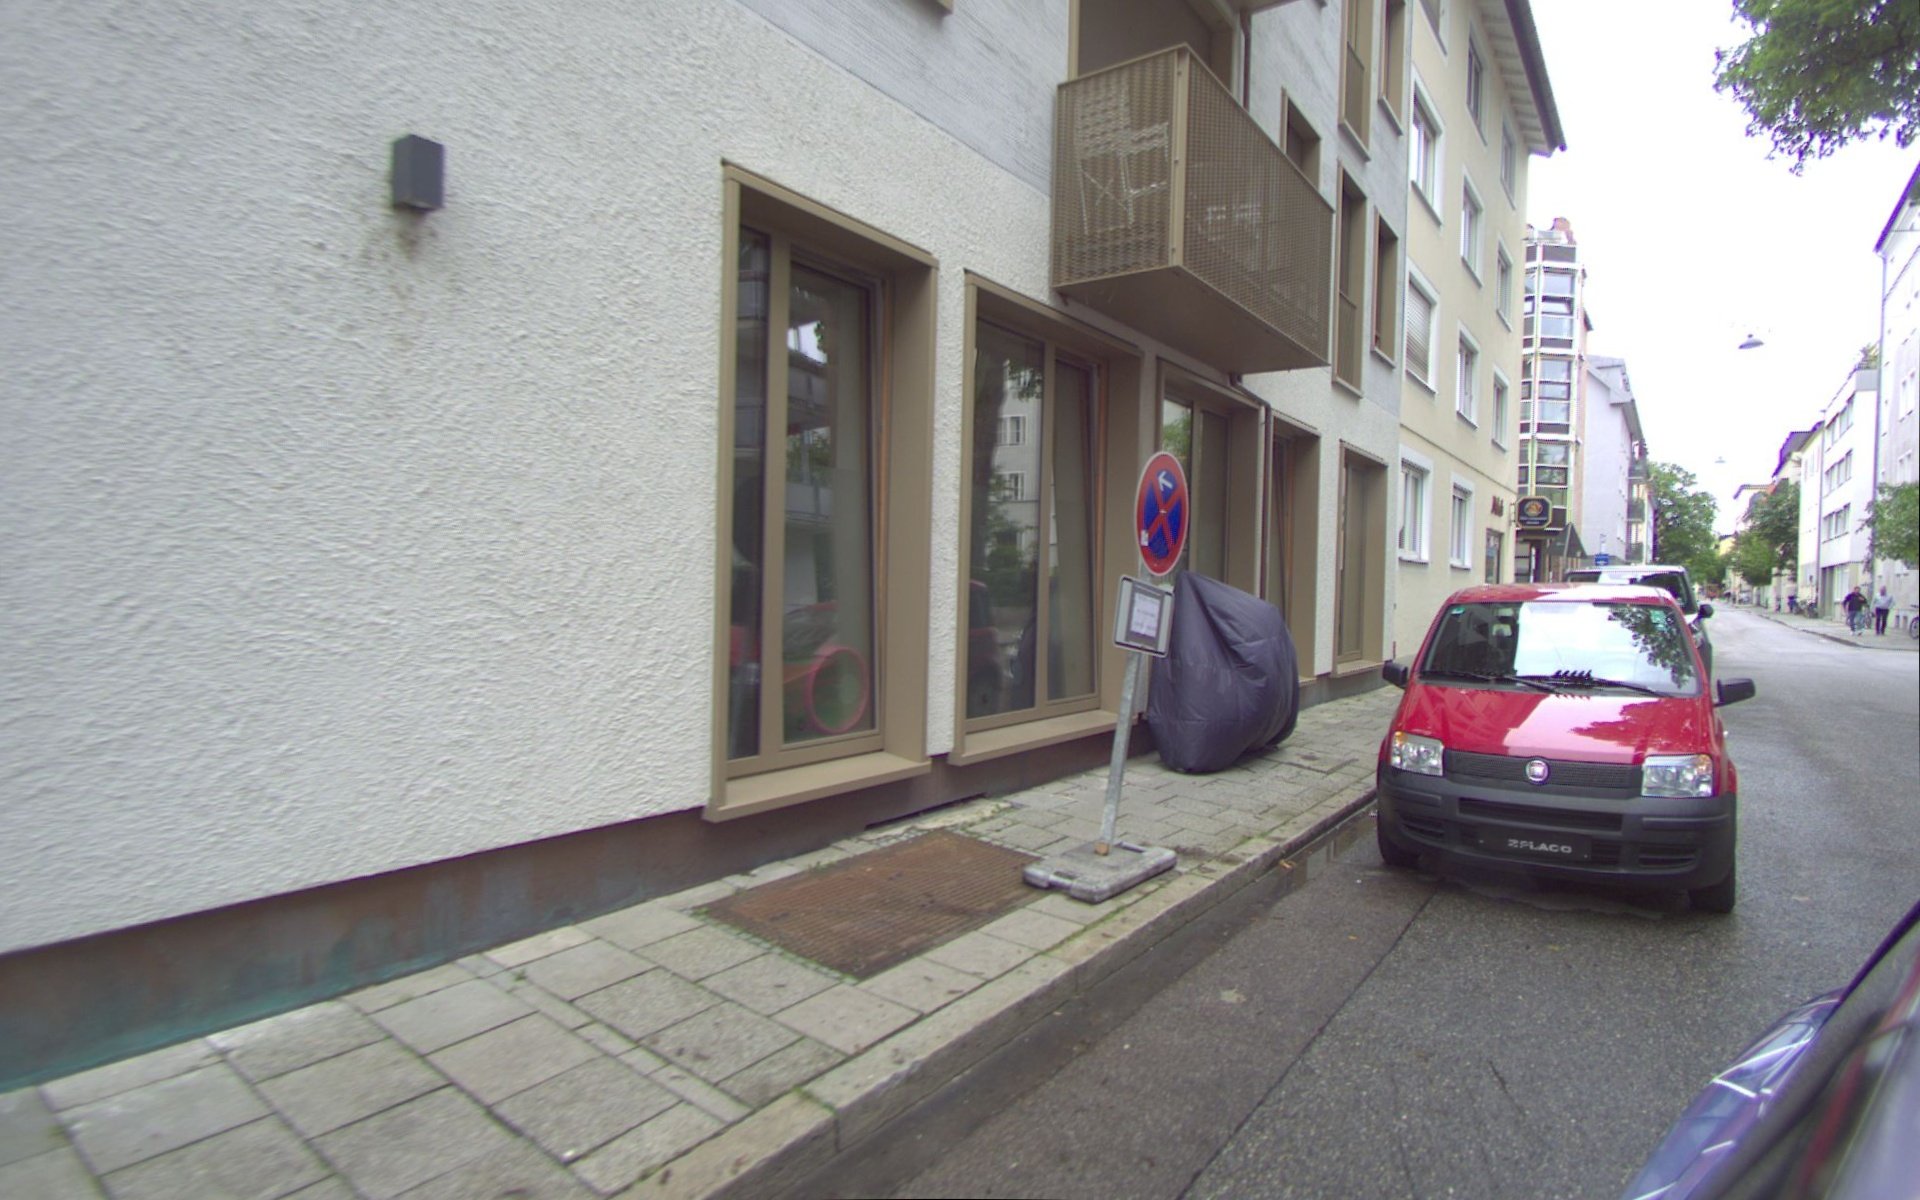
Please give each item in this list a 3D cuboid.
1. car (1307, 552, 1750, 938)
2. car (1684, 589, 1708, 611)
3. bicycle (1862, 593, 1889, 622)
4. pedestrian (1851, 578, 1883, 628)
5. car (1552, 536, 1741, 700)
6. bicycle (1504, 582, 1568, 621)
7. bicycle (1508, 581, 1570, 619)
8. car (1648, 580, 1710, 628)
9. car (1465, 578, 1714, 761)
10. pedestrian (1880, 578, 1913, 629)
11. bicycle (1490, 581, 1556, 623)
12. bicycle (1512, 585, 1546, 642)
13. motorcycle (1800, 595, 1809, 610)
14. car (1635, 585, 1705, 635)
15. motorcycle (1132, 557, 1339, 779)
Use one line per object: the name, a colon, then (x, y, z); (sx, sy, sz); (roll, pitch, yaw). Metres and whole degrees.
car: (3.694, 0.560, 6.180); (1.768, 1.543, 4.010); (0, 0, 38)
car: (45.961, -0.003, 63.205); (1.184, 1.337, 2.743); (1, 1, 37)
bicycle: (39.011, 0.314, 43.127); (0.445, 1.209, 1.486); (0, 1, 27)
pedestrian: (32.421, 0.120, 36.185); (0.718, 1.750, 0.830); (-3, -2, 37)
car: (10.019, 0.200, 14.890); (1.983, 2.001, 4.826); (0, 0, 34)
bicycle: (19.404, 0.041, 34.104); (1.749, 1.201, 0.436); (6, 4, 43)
bicycle: (20.511, -0.012, 35.878); (0.581, 1.244, 1.881); (0, 3, -24)
car: (25.818, 0.096, 36.449); (1.715, 1.636, 4.399); (1, 1, 34)
car: (6.638, 0.541, 10.440); (1.764, 1.479, 4.320); (0, 0, 38)
pedestrian: (33.035, 0.136, 35.699); (0.691, 1.750, 0.830); (-3, -2, 37)
bicycle: (18.738, 0.057, 33.728); (1.777, 1.339, 0.586); (1, 2, 12)
bicycle: (13.351, 0.301, 23.724); (0.409, 1.228, 1.795); (5, 4, 36)
motorcycle: (58.063, 0.142, 69.581); (0.322, 0.985, 1.935); (0, 1, 36)
car: (22.468, 0.260, 32.093); (1.715, 1.453, 4.305); (1, 1, 35)
motorcycle: (2.159, 0.437, 7.748); (0.803, 1.440, 1.906); (5, 3, 37)
